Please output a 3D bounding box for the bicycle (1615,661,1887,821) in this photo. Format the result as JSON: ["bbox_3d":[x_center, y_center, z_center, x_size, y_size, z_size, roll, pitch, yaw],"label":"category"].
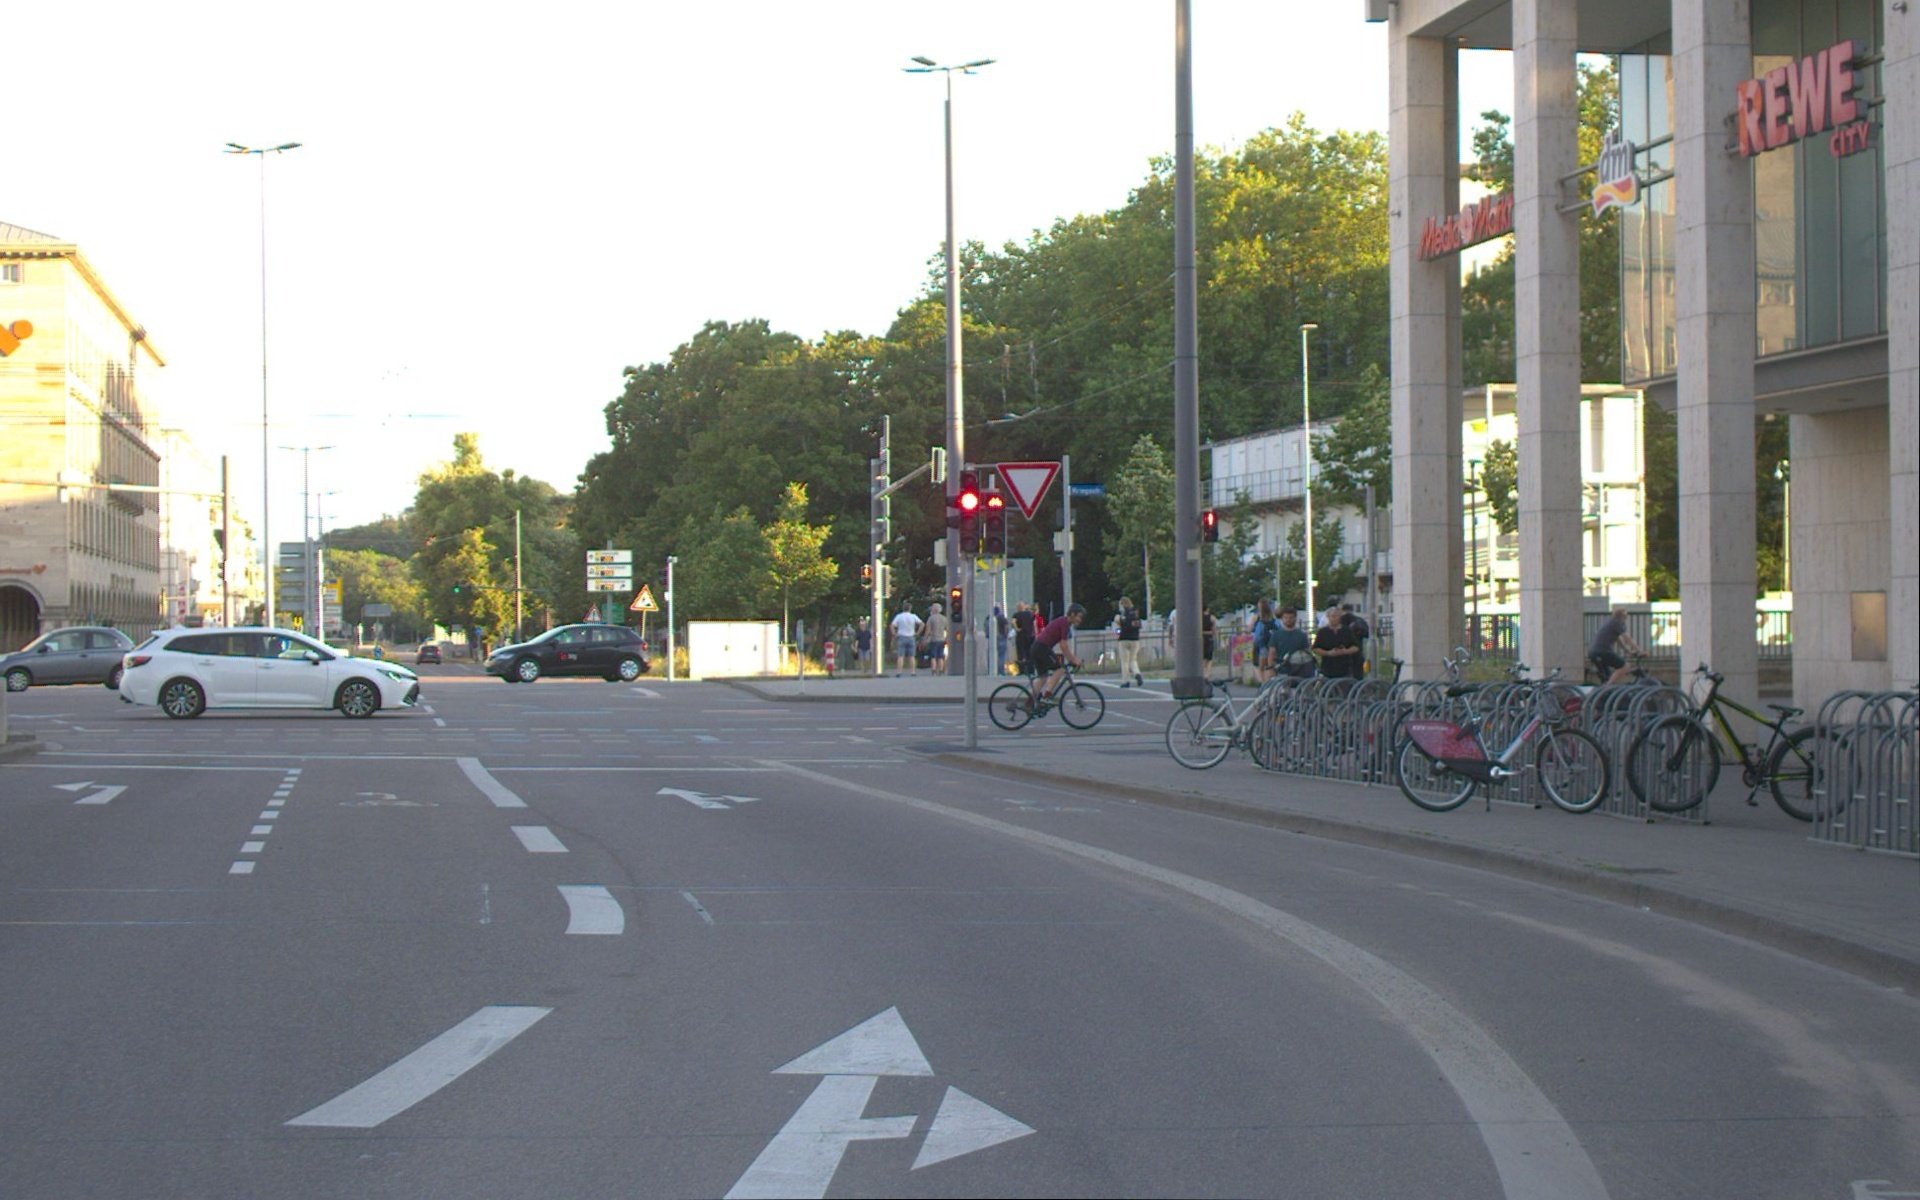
[{"bbox_3d":[5.784,1.027,25.192,1.816,1.096,0.600,2,0,-2],"label":"bicycle"}]

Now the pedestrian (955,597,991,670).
[{"bbox_3d":[0.315,0.804,81.776,0.808,1.724,0.688,0,0,3],"label":"pedestrian"}]

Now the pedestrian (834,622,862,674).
[{"bbox_3d":[-3.787,1.612,116.144,0.808,1.724,0.929,0,0,-11],"label":"pedestrian"}]

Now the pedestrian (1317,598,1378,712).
[{"bbox_3d":[6.267,0.882,55.662,0.893,1.824,0.688,0,0,-1],"label":"pedestrian"}]

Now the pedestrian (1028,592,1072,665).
[{"bbox_3d":[2.144,0.675,81.863,0.808,1.724,0.688,0,0,-23],"label":"pedestrian"}]

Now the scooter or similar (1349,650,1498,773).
[{"bbox_3d":[4.449,1.066,33.034,1.275,1.156,0.674,0,0,-11],"label":"scooter or similar"}]

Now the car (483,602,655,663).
[{"bbox_3d":[-9.713,0.802,85.347,3.974,1.448,1.546,0,0,-21],"label":"car"}]

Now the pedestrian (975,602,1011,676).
[{"bbox_3d":[0.786,0.923,80.947,0.808,1.724,0.688,0,0,3],"label":"pedestrian"}]

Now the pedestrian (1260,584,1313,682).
[{"bbox_3d":[5.817,0.586,61.253,0.893,1.724,0.688,0,0,2],"label":"pedestrian"}]

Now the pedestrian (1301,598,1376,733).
[{"bbox_3d":[5.122,0.874,46.504,0.756,1.771,0.741,-3,0,-9],"label":"pedestrian"}]

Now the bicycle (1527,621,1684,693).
[{"bbox_3d":[9.794,0.859,52.186,2.241,1.058,0.653,-1,0,-9],"label":"bicycle"}]

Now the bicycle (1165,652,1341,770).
[{"bbox_3d":[3.080,1.159,36.104,1.818,1.208,0.570,-1,0,6],"label":"bicycle"}]

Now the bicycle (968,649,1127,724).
[{"bbox_3d":[1.277,1.265,50.478,2.241,1.058,0.653,-1,0,-10],"label":"bicycle"}]

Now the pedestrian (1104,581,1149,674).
[{"bbox_3d":[3.109,0.506,64.236,0.691,1.724,0.741,0,0,-8],"label":"pedestrian"}]

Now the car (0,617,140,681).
[{"bbox_3d":[-21.256,1.139,80.943,3.713,1.448,1.546,0,0,-16],"label":"car"}]

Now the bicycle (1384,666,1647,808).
[{"bbox_3d":[4.251,1.042,26.354,1.898,1.044,0.570,0,0,-4],"label":"bicycle"}]

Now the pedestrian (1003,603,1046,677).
[{"bbox_3d":[1.522,0.942,81.177,0.808,1.724,0.688,0,0,-24],"label":"pedestrian"}]

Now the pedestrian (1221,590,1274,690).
[{"bbox_3d":[5.011,0.696,59.927,0.893,1.724,0.688,0,0,4],"label":"pedestrian"}]

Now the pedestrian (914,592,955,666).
[{"bbox_3d":[-0.596,0.668,80.686,0.808,1.724,0.688,0,0,-16],"label":"pedestrian"}]

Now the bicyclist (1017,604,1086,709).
[{"bbox_3d":[1.345,0.821,50.491,0.879,1.526,0.653,-1,0,-10],"label":"bicyclist"}]

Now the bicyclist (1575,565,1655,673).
[{"bbox_3d":[9.945,0.283,52.220,1.019,1.616,0.653,-1,0,-9],"label":"bicyclist"}]

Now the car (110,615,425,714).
[{"bbox_3d":[-10.941,1.005,54.525,4.795,1.491,2.128,0,0,-10],"label":"car"}]

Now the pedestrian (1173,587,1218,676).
[{"bbox_3d":[4.583,0.614,66.984,0.836,1.724,0.688,0,0,6],"label":"pedestrian"}]

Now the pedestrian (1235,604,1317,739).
[{"bbox_3d":[4.263,0.959,46.468,0.860,1.771,0.741,-3,0,-9],"label":"pedestrian"}]

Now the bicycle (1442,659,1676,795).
[{"bbox_3d":[5.143,1.087,29.550,1.871,1.109,0.570,2,-1,-6],"label":"bicycle"}]

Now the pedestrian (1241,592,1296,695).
[{"bbox_3d":[5.228,0.739,58.290,0.893,1.724,0.688,0,0,2],"label":"pedestrian"}]

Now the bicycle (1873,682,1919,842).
[{"bbox_3d":[6.933,1.050,22.706,1.702,1.020,0.601,0,0,-20],"label":"bicycle"}]

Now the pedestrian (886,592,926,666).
[{"bbox_3d":[-1.269,0.676,80.425,0.808,1.724,0.688,0,0,-11],"label":"pedestrian"}]

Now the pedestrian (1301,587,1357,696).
[{"bbox_3d":[6.248,0.704,58.219,0.893,1.834,0.688,0,0,2],"label":"pedestrian"}]

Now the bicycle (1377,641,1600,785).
[{"bbox_3d":[4.805,1.022,31.299,1.866,1.255,0.674,2,-1,-11],"label":"bicycle"}]

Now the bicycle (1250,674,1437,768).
[{"bbox_3d":[3.998,1.259,35.857,1.866,0.933,0.516,0,0,-11],"label":"bicycle"}]

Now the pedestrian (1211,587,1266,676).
[{"bbox_3d":[5.490,0.615,67.695,0.835,1.724,0.688,0,0,-25],"label":"pedestrian"}]
